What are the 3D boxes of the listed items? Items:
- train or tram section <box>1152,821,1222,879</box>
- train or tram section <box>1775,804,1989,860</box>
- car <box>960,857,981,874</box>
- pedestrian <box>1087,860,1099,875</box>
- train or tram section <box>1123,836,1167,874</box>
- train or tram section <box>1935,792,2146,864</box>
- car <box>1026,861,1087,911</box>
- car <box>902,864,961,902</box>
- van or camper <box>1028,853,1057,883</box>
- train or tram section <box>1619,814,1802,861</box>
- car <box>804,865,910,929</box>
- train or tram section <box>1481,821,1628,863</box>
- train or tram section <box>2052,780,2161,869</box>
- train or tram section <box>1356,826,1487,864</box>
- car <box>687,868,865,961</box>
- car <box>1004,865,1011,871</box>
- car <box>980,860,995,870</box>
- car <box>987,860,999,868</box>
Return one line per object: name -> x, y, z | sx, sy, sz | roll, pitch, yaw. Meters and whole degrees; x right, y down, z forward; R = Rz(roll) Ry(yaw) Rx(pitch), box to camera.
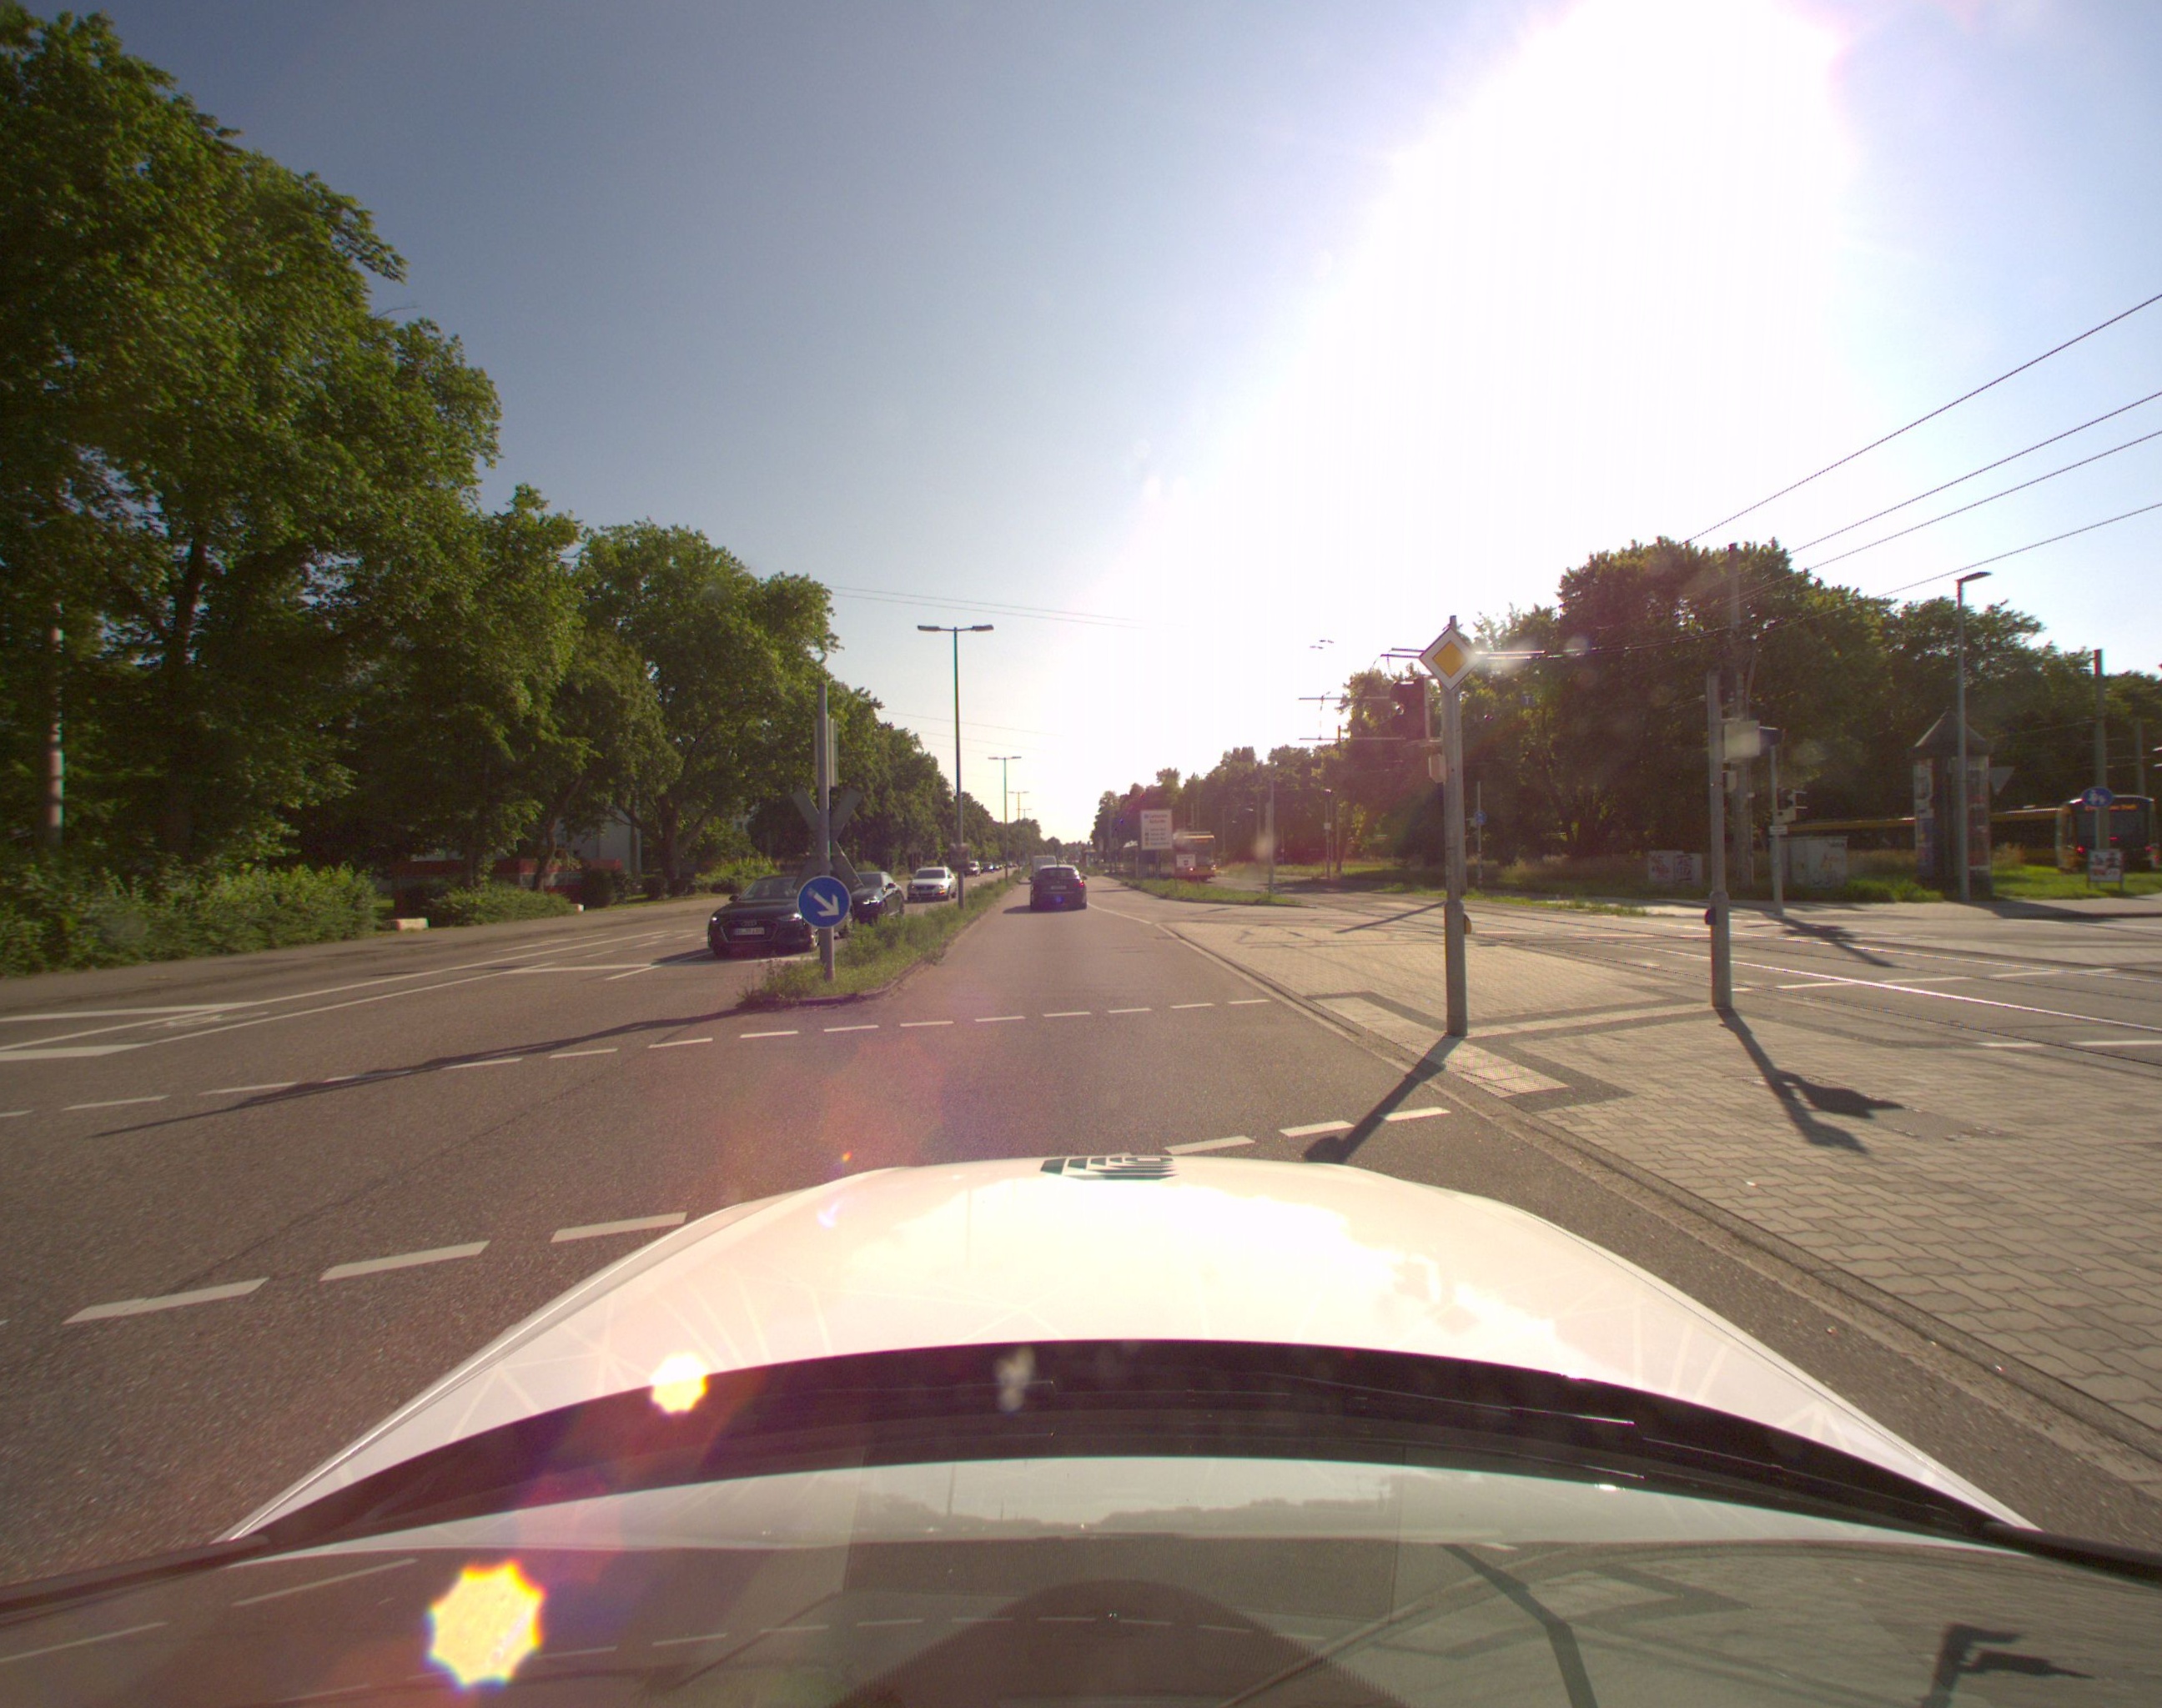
train or tram section -> 7.254, -0.162, 57.923 | 2.789, 3.618, 12.943 | 0, -1, -2
train or tram section -> 57.338, -1.432, 59.079 | 3.037, 3.579, 12.217 | -1, 0, -3
car -> -12.619, 1.280, 93.080 | 1.783, 1.772, 4.567 | -1, 0, -1
pedestrian -> 1.291, 1.465, 88.638 | 0.989, 1.634, 0.725 | -1, 0, 29
train or tram section -> 6.316, 0.230, 83.023 | 2.678, 3.481, 14.954 | 0, -1, -2
train or tram section -> 54.960, -1.356, 47.315 | 3.016, 3.579, 12.301 | -1, 0, 25
car -> -0.842, 1.017, 27.738 | 1.898, 1.506, 4.061 | -1, 0, -2
car -> -6.614, 1.244, 36.452 | 1.843, 1.477, 4.642 | -1, 0, -2
van or camper -> -2.845, 1.021, 60.473 | 1.989, 2.096, 4.593 | -1, 0, -3
train or tram section -> 53.853, -1.269, 70.264 | 3.068, 3.579, 12.092 | -1, 0, -37
car -> -5.966, 1.090, 22.195 | 1.825, 1.435, 4.375 | -2, 0, -3
train or tram section -> 45.588, -1.068, 78.828 | 12.072, 3.579, 3.073 | -1, 0, 32
train or tram section -> 47.388, -1.252, 37.669 | 11.912, 3.579, 3.018 | -1, 0, -40
train or tram section -> 35.309, -0.847, 84.681 | 12.283, 3.579, 3.072 | -1, 0, 27
car -> -5.777, 1.063, 16.131 | 1.824, 1.431, 4.727 | -2, 0, -2
car -> -17.999, 3.457, 200.741 | 1.530, 1.486, 3.995 | -1, 0, -3
car -> -13.851, 1.610, 120.844 | 1.785, 1.415, 4.381 | -1, 0, -3
car -> -15.187, 1.784, 140.771 | 1.784, 1.328, 4.733 | -1, 0, -2
